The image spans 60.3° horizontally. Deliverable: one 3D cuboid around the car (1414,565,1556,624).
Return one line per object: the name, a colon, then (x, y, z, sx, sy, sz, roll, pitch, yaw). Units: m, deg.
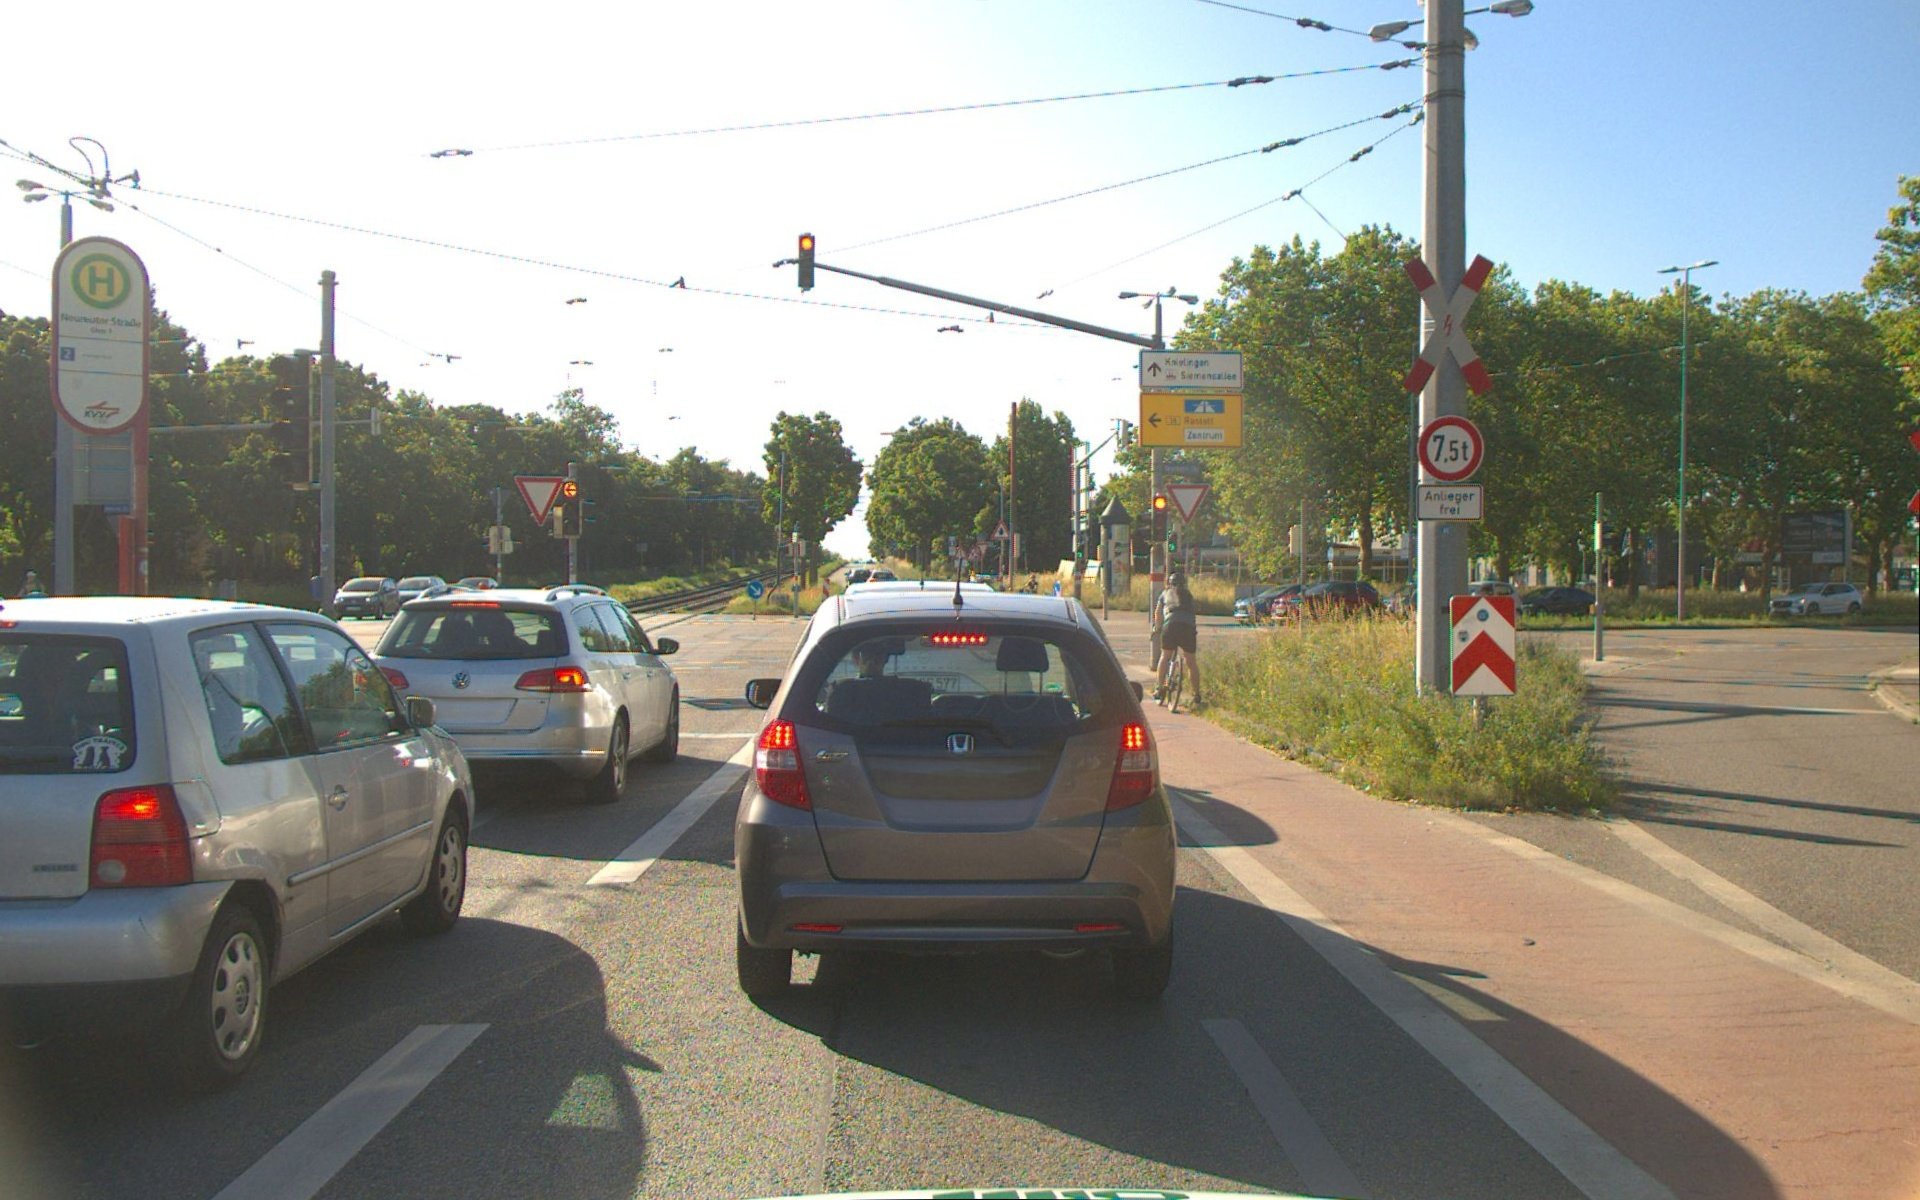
car: (19.024, -0.224, 59.893, 4.823, 2.049, 1.985, 0, 0, -24)

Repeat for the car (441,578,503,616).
car: (-21.730, -0.163, 73.794, 1.956, 1.632, 4.746, 1, 1, -8)

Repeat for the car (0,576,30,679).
car: (-15.825, 0.432, 24.103, 1.554, 1.571, 3.986, 0, 0, 17)

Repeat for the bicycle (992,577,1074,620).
bicycle: (2.788, -0.070, 62.958, 3.164, 1.602, 0.814, 0, 0, -26)

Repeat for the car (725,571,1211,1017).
car: (-0.059, 0.641, 7.363, 1.635, 1.487, 3.584, 0, 0, -3)

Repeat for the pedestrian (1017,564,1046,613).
pedestrian: (2.733, -0.444, 62.943, 0.842, 1.868, 0.784, 0, 0, -26)

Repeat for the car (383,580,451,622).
car: (-21.482, 0.021, 65.545, 1.798, 1.575, 4.277, 0, 0, -8)

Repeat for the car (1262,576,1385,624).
car: (12.361, -0.011, 56.171, 3.934, 1.557, 1.594, -1, 1, -24)

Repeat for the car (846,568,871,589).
car: (-6.828, -1.418, 111.070, 1.494, 1.403, 3.670, 0, 0, -7)

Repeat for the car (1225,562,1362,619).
car: (12.180, -0.326, 60.457, 4.626, 1.912, 1.985, 2, 0, -24)

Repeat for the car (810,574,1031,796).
car: (-0.330, 0.600, 13.995, 1.578, 1.589, 4.287, 0, 0, -1)

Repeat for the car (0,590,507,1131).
car: (-2.892, 0.704, 6.094, 1.586, 1.442, 3.350, 0, 0, -1)

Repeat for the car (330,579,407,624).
car: (-21.314, 0.037, 59.756, 1.798, 1.575, 3.993, 0, 0, -8)

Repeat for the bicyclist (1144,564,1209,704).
bicyclist: (2.769, 0.429, 21.213, 0.652, 1.746, 0.948, 1, 0, -2)

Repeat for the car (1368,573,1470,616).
car: (17.599, -0.216, 63.364, 3.694, 1.597, 1.480, 0, 0, -24)

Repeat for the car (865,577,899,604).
car: (-4.509, -0.536, 94.814, 1.677, 1.504, 3.994, 0, 0, -7)

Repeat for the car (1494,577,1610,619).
car: (23.594, -0.096, 65.878, 4.450, 1.601, 1.681, 0, 0, -24)

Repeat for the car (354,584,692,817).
car: (-3.151, 0.655, 12.734, 1.586, 1.482, 4.084, 1, 0, -1)

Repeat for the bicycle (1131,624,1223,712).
bicycle: (2.757, 0.842, 21.292, 0.707, 1.006, 2.875, 1, 0, -2)

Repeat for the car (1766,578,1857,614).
car: (37.575, -0.197, 72.957, 3.938, 1.527, 1.580, -1, 0, -26)
